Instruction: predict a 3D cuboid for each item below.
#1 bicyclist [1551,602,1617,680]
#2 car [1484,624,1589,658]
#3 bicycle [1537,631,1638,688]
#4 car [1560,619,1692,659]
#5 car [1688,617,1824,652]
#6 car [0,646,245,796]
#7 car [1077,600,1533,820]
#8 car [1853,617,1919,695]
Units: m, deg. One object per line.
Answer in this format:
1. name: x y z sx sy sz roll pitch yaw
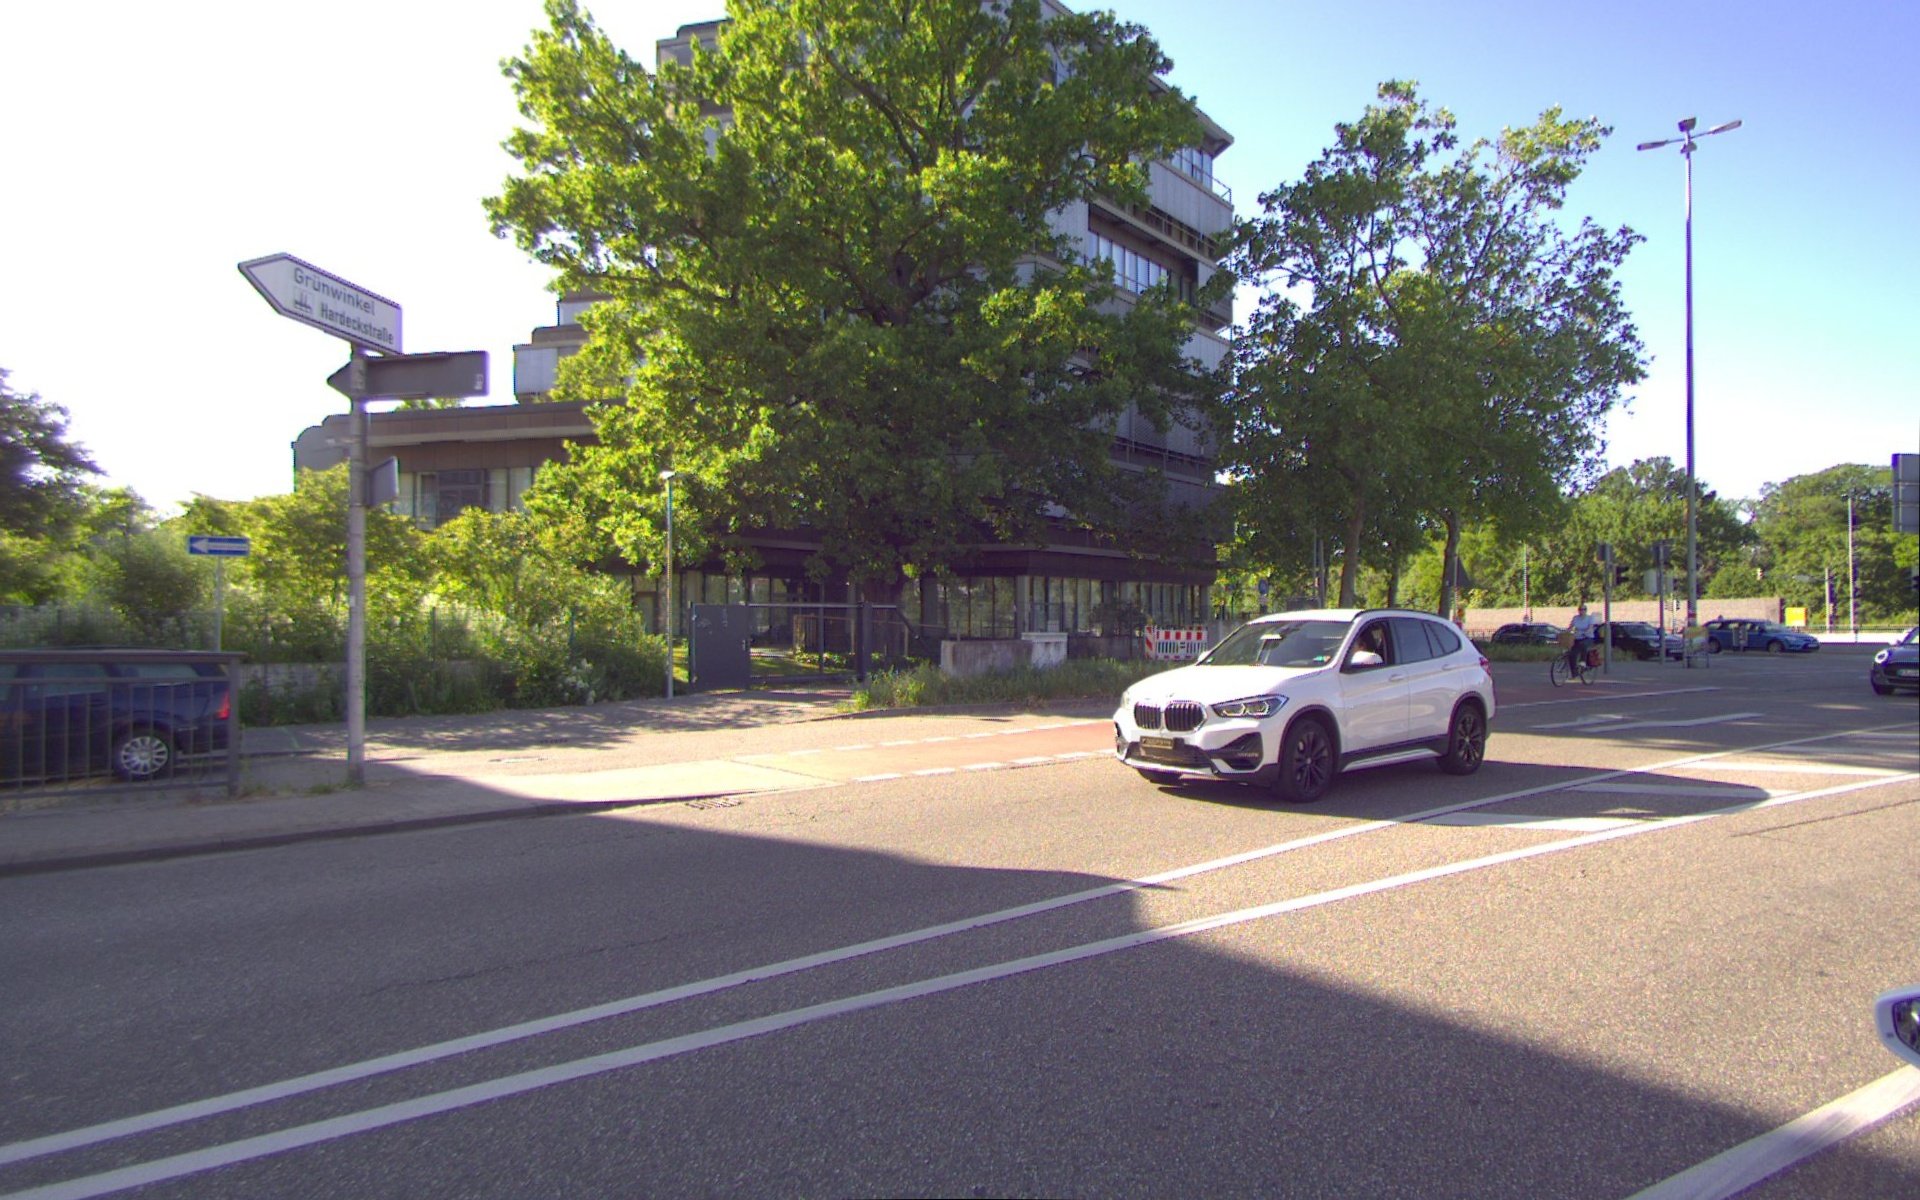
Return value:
1. bicyclist: 14.199 0.914 22.847 1.180 1.723 0.686 0 -1 -21
2. car: 25.880 1.809 45.291 1.792 1.457 4.446 0 -2 -7
3. bicycle: 14.295 1.335 22.875 2.292 1.218 0.686 0 -1 -21
4. car: 25.589 1.482 38.809 1.792 1.457 4.446 0 -2 -7
5. car: 34.262 1.478 43.404 1.794 1.457 4.441 0 -2 -13
6. car: -10.752 1.326 11.243 4.411 1.523 1.806 1 -2 -38
7. car: 3.461 0.879 9.729 4.581 1.675 1.822 0 -2 -35
8. car: 19.773 1.072 19.989 3.862 1.476 1.680 0 -1 -27
